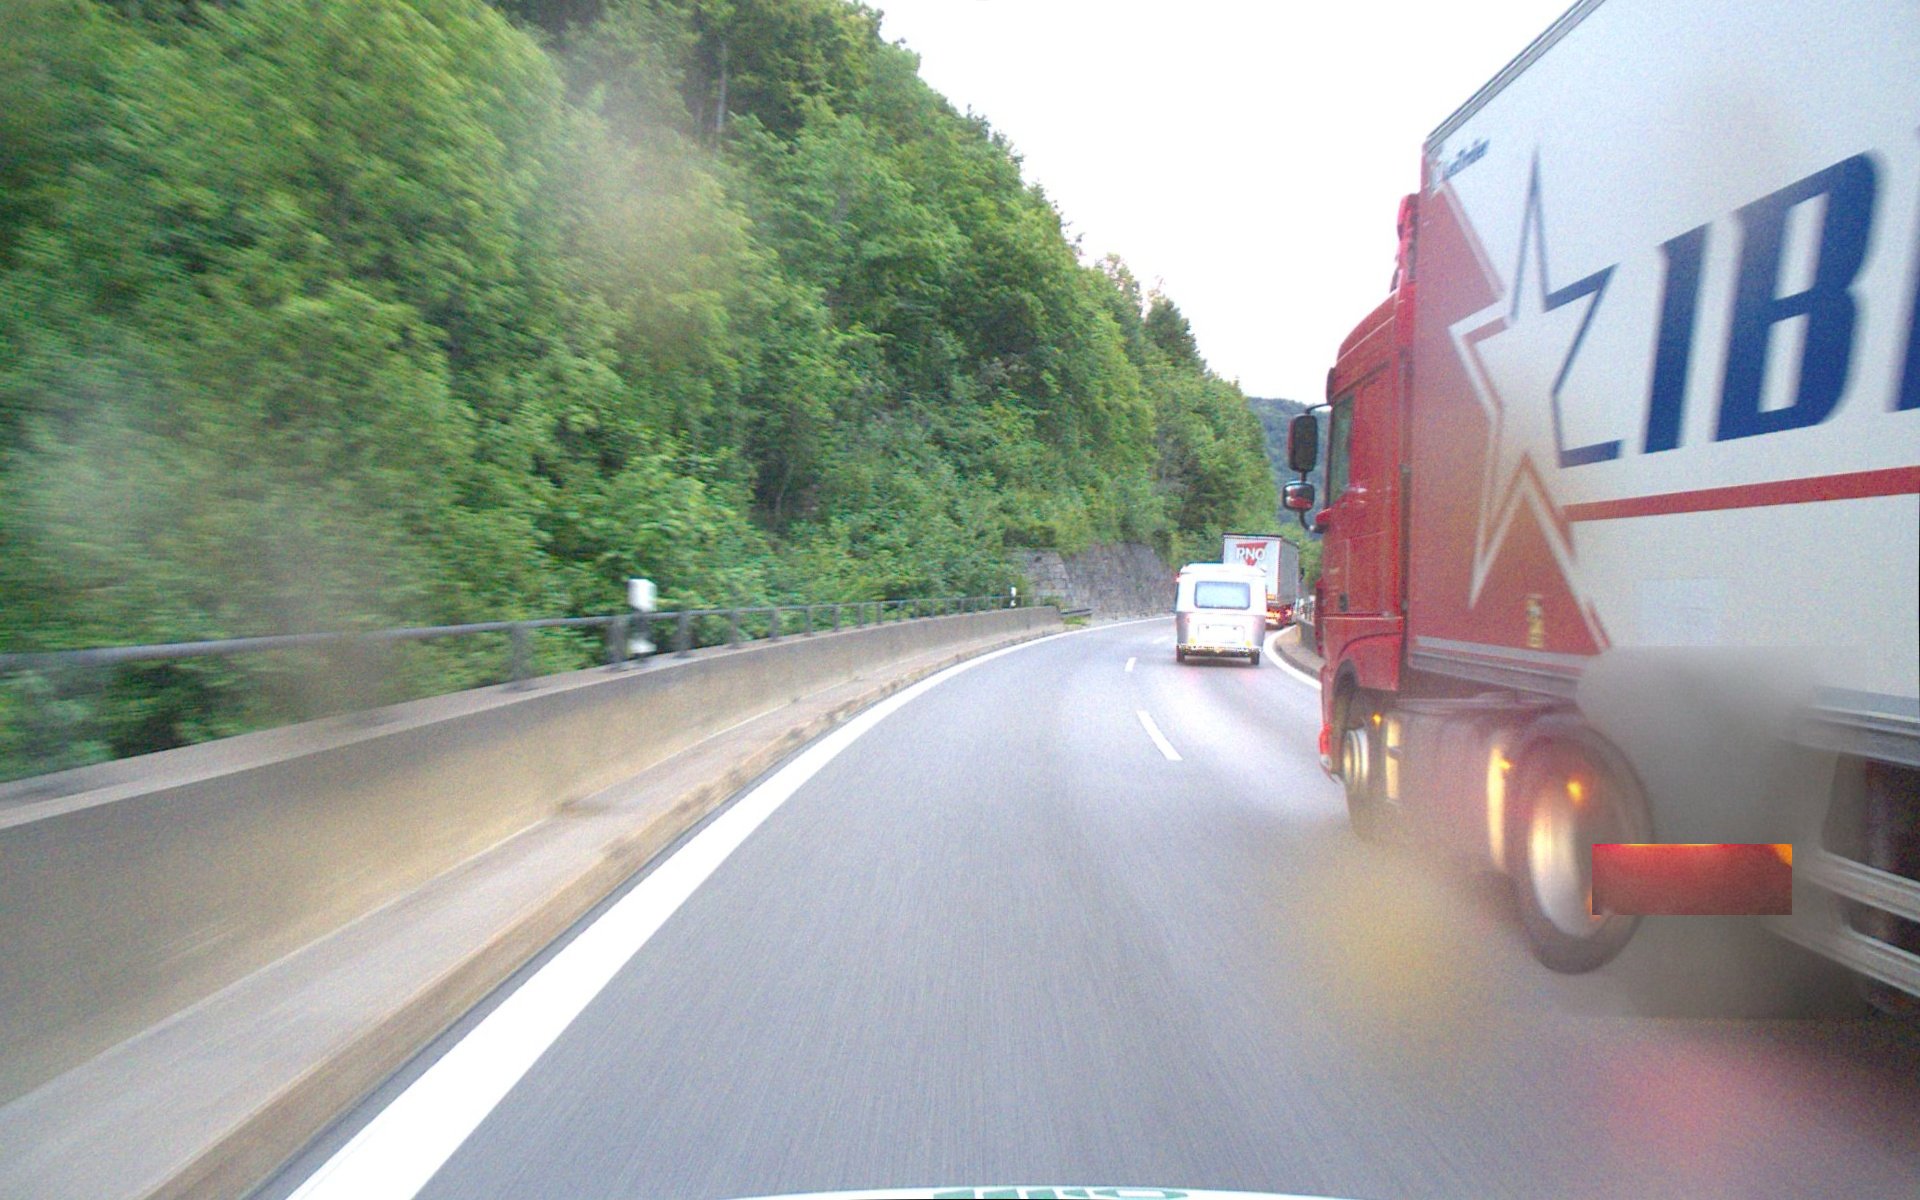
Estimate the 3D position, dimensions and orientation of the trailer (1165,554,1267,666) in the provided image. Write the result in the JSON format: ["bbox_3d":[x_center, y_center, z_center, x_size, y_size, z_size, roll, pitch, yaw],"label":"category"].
[{"bbox_3d":[6.005,0.185,39.353,2.011,2.416,5.942,1,1,6],"label":"trailer"}]

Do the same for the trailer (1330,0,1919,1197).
[{"bbox_3d":[4.001,-0.496,3.006,3.035,4.039,14.212,0,0,-2],"label":"trailer"}]

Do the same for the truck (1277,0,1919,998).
[{"bbox_3d":[4.000,-0.565,9.541,3.006,4.217,6.446,2,0,0],"label":"truck"}]

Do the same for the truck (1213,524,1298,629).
[{"bbox_3d":[13.709,-0.941,77.948,3.225,4.246,16.516,-3,-1,8],"label":"truck"}]
